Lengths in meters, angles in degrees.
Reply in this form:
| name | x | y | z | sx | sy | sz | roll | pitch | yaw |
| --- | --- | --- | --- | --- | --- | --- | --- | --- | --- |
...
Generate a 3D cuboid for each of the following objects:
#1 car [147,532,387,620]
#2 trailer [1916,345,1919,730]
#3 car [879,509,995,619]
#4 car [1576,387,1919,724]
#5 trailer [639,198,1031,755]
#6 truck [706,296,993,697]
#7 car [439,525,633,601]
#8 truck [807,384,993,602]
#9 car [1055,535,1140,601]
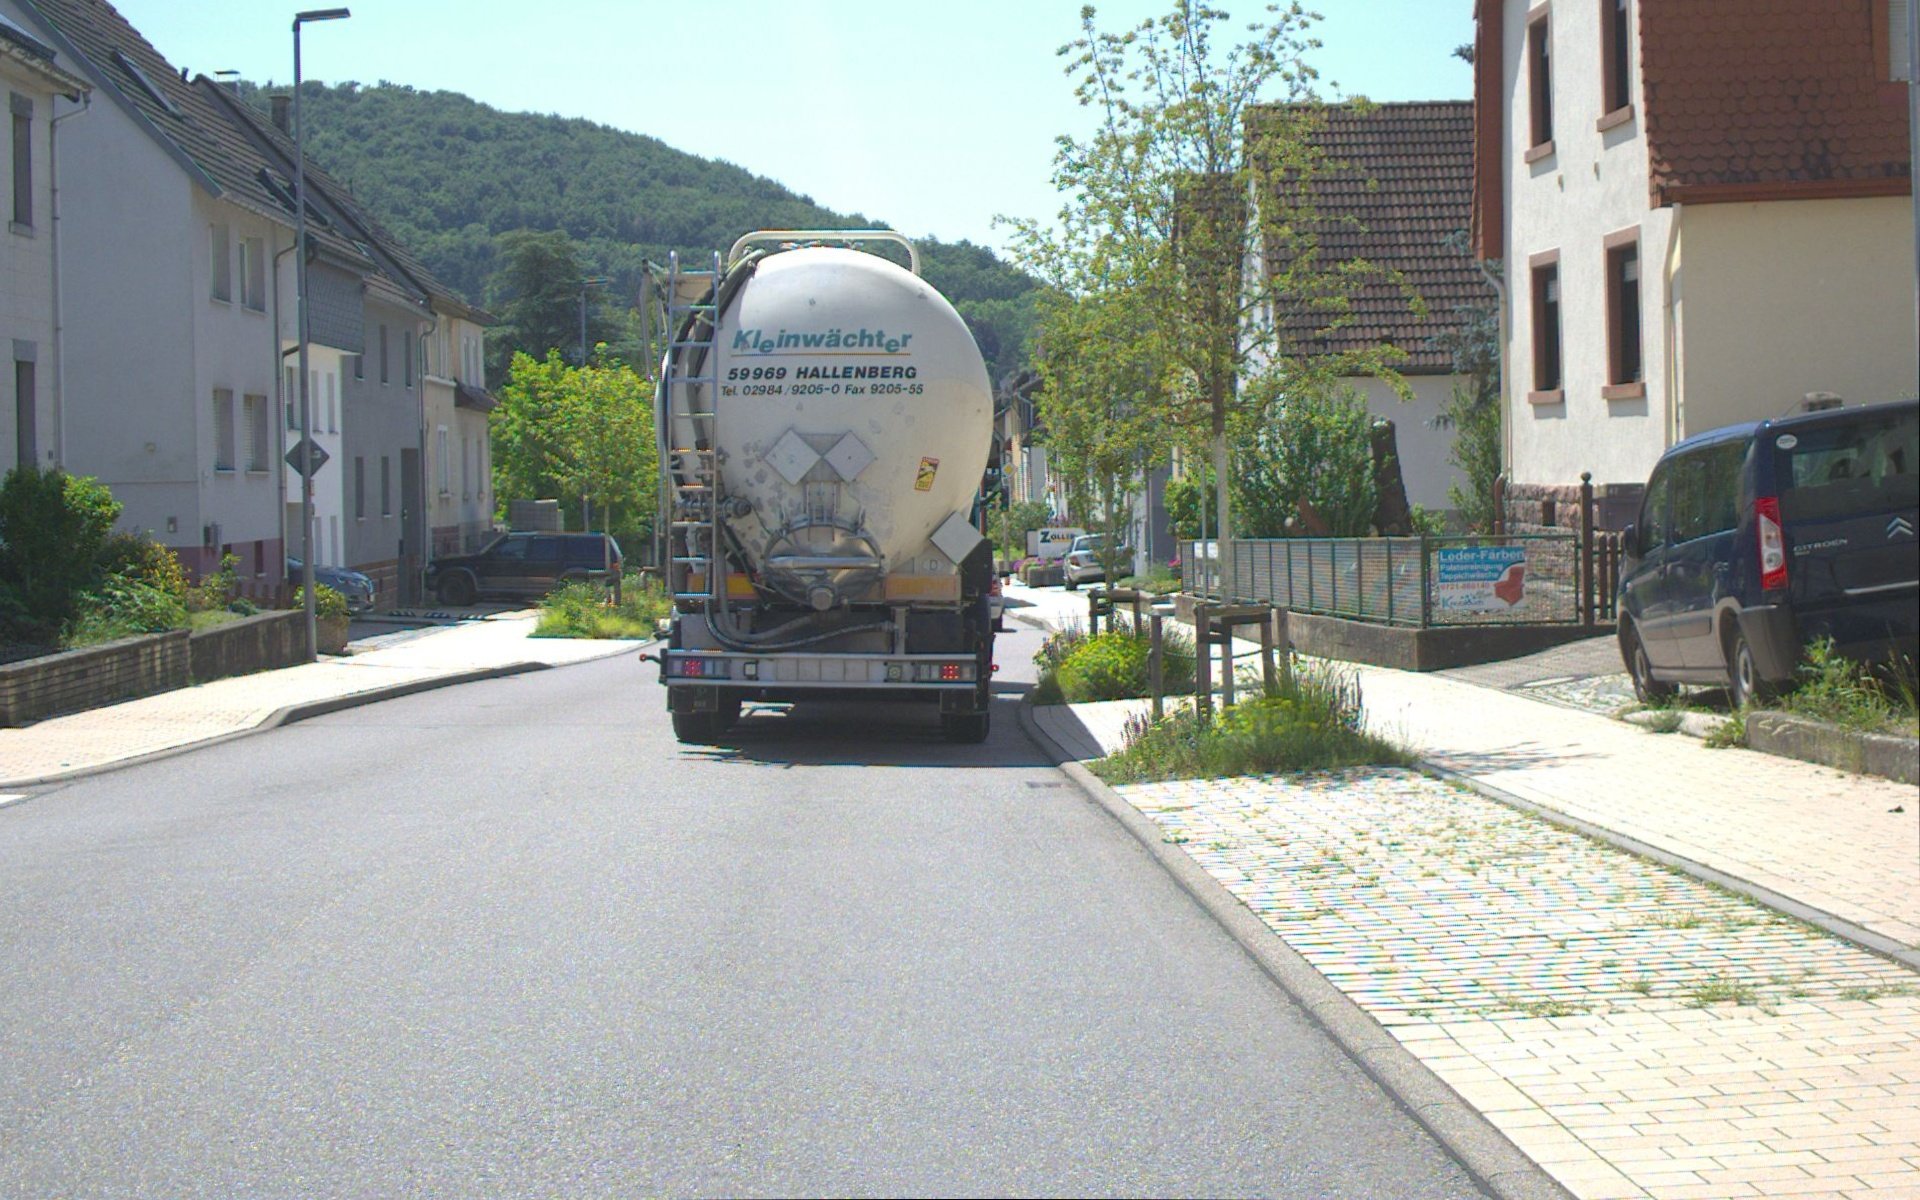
| name | x | y | z | sx | sy | sz | roll | pitch | yaw |
| --- | --- | --- | --- | --- | --- | --- | --- | --- | --- |
| car | -12.522 | -0.449 | 62.259 | 3.987 | 1.540 | 1.832 | 0 | 1 | -1 |
| trailer | 6.245 | -0.327 | 18.383 | 1.323 | 2.007 | 2.268 | 1 | 1 | 41 |
| car | -0.419 | -0.648 | 61.341 | 1.993 | 1.897 | 4.000 | 0 | 1 | -1 |
| car | 5.633 | -0.333 | 23.290 | 1.852 | 1.964 | 4.774 | -5 | 1 | -1 |
| trailer | -0.998 | -0.959 | 29.814 | 2.796 | 3.987 | 10.324 | 0 | 1 | -1 |
| truck | -1.135 | -1.060 | 36.771 | 2.808 | 3.923 | 6.099 | 0 | 1 | -1 |
| car | -9.965 | -0.877 | 80.986 | 4.394 | 1.744 | 1.878 | 0 | 1 | -2 |
| truck | -1.580 | -2.544 | 83.581 | 3.910 | 4.879 | 9.797 | -2 | 1 | -4 |
| car | 3.632 | -0.851 | 91.679 | 1.791 | 1.536 | 4.520 | -6 | 1 | -2 |
